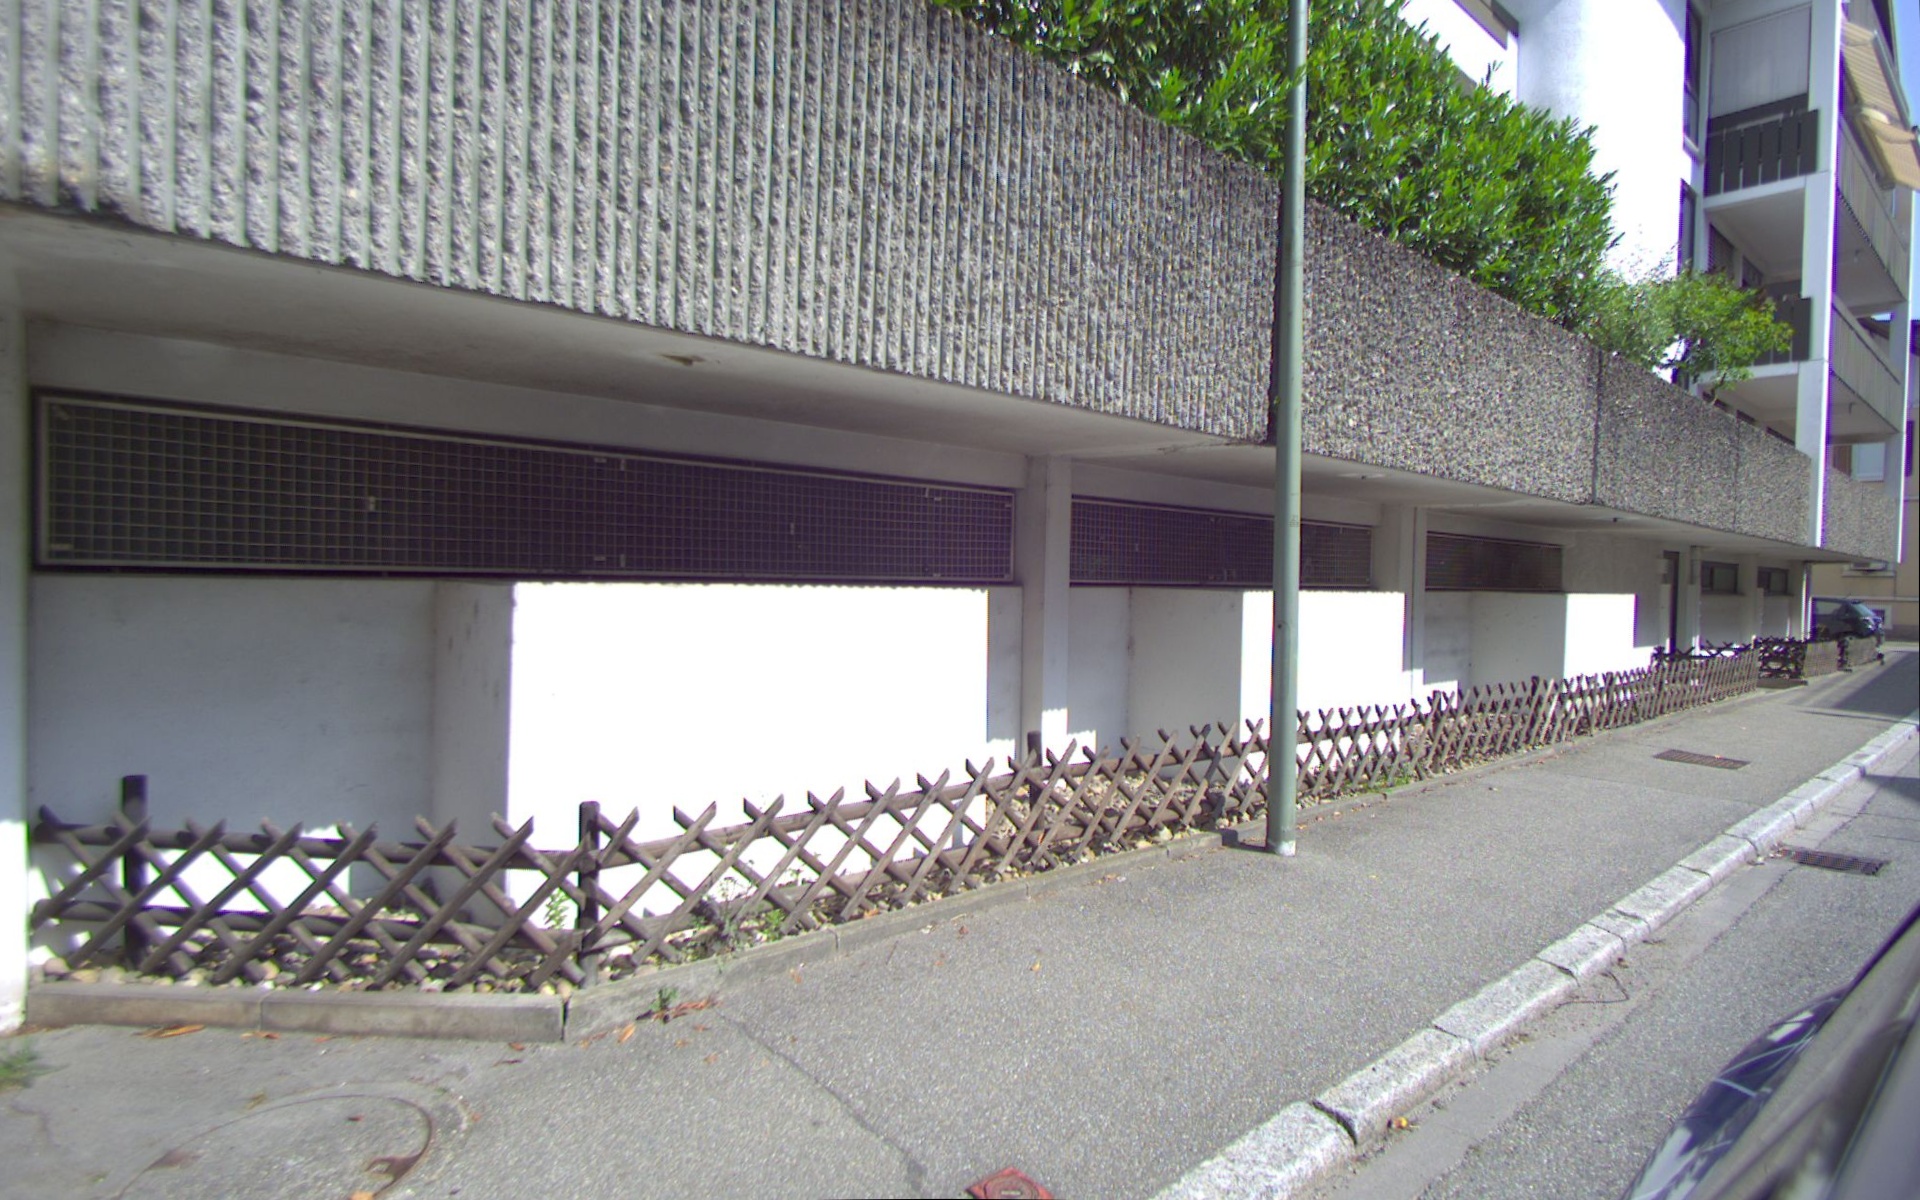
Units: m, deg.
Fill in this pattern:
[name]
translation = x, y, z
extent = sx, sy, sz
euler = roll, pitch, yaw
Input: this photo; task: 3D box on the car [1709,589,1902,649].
[car]
translation = 22.702, 0.475, 27.275
extent = 1.671, 1.498, 3.831
euler = 1, -1, -43
